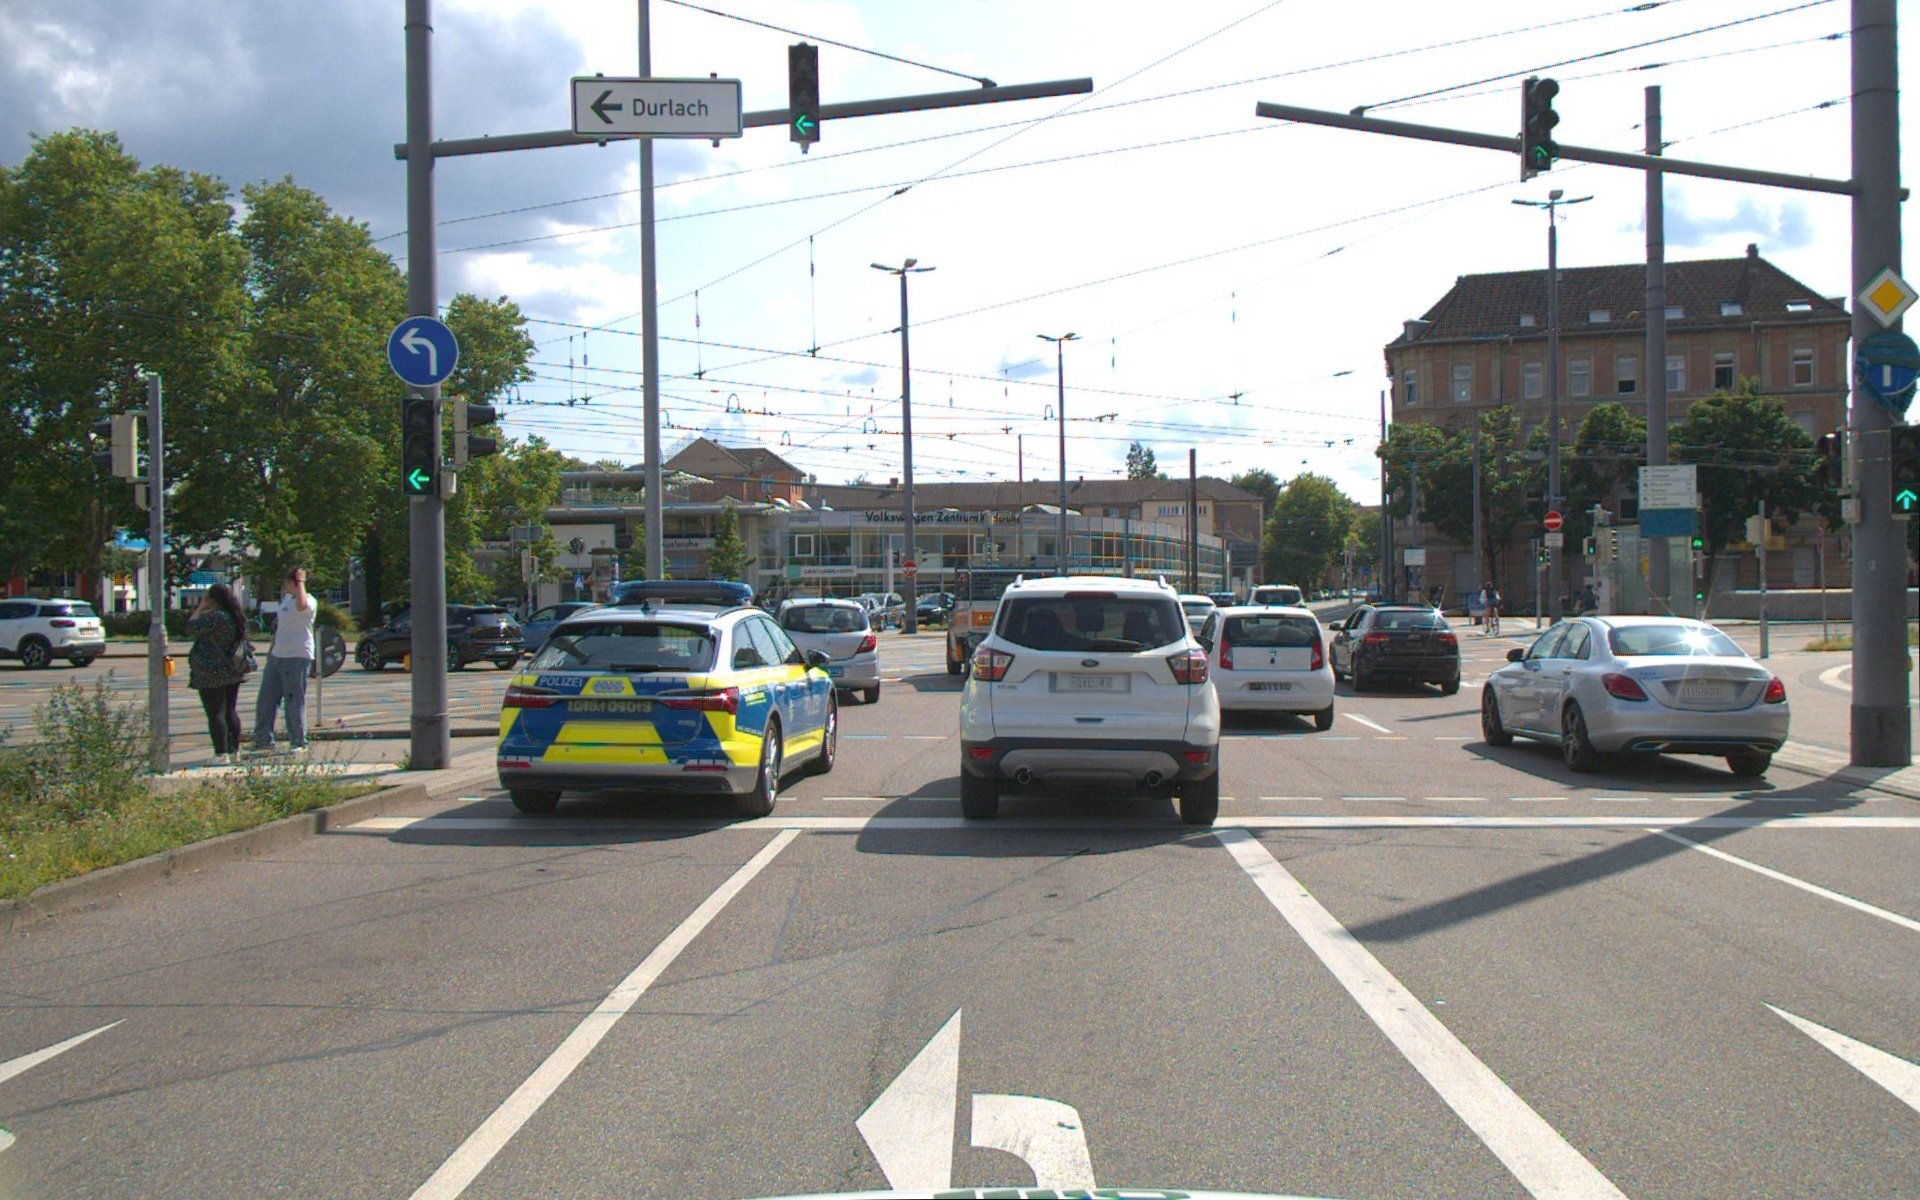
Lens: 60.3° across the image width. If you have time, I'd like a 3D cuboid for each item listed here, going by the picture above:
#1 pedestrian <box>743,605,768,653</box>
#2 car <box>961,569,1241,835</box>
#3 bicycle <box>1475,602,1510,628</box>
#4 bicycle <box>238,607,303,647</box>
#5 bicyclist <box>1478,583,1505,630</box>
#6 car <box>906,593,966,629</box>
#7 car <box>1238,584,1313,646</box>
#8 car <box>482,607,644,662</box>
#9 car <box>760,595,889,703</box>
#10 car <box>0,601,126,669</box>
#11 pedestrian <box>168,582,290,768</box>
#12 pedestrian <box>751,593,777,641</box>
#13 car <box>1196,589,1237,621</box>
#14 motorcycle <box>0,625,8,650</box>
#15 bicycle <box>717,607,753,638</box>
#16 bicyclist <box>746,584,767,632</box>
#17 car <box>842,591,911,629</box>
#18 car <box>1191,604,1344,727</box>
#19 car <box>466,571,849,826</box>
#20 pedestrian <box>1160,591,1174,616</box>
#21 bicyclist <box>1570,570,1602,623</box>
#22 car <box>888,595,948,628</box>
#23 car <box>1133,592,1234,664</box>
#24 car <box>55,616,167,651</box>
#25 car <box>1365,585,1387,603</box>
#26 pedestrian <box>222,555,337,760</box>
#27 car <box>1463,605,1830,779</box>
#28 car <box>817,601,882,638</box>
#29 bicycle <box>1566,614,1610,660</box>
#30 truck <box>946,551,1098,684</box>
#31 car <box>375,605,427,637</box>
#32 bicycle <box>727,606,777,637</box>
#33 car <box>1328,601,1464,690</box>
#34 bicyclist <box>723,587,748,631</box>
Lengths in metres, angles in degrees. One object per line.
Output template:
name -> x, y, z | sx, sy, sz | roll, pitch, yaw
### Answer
pedestrian -> -7.792, 1.105, 63.108 | 0.907, 1.774, 0.588 | 1, -1, -10
car -> 0.927, 0.662, 12.588 | 1.789, 1.693, 3.955 | 0, 0, 1
bicycle -> 16.982, 0.478, 52.787 | 0.573, 0.789, 1.621 | -1, 0, -1
bicycle -> -25.139, 0.983, 60.337 | 2.135, 1.439, 0.808 | 0, 0, -19
bicyclist -> 16.959, 0.210, 52.778 | 0.596, 1.476, 0.774 | -1, 0, -1
car -> -1.055, 0.487, 74.033 | 1.653, 1.487, 3.972 | -2, 0, 15
car -> 8.920, 0.425, 46.980 | 1.797, 1.681, 4.003 | 0, -1, 6
car -> -10.475, 0.900, 43.632 | 3.907, 1.401, 1.741 | -1, -1, 24
car -> -2.156, 0.690, 25.457 | 1.813, 1.500, 3.994 | -1, 0, -7
car -> -23.065, 0.832, 40.367 | 4.428, 1.606, 2.048 | 0, 0, 7
pedestrian -> -6.849, 0.690, 15.517 | 0.831, 1.677, 0.692 | -1, -1, -4
pedestrian -> -7.383, 0.651, 62.379 | 0.907, 1.774, 0.588 | 1, -1, -10
car -> 11.669, 0.238, 75.083 | 1.810, 1.444, 3.682 | 0, 0, 9
motorcycle -> -36.725, 1.421, 61.608 | 0.794, 0.933, 2.038 | -1, 1, 34
bicycle -> -9.093, 0.899, 66.838 | 0.743, 1.213, 2.152 | -2, 0, 11
bicyclist -> -7.530, 0.302, 61.191 | 0.646, 1.768, 0.640 | 0, 0, 4
car -> -3.726, 0.416, 74.544 | 1.701, 1.600, 4.001 | -2, 0, 19
car -> 3.987, 0.796, 21.956 | 1.614, 1.447, 4.003 | 0, 0, 5
car -> -2.083, 0.664, 12.807 | 1.840, 1.596, 4.617 | -1, -1, 4
pedestrian -> 16.752, 0.284, 133.952 | 0.859, 1.956, 0.874 | 0, -1, 30
bicyclist -> 15.253, -0.097, 40.293 | 0.622, 1.241, 0.923 | -3, 1, 24
car -> -2.013, 0.530, 80.980 | 1.592, 1.487, 3.970 | -2, 0, 19
car -> 4.631, 0.564, 34.667 | 1.811, 1.444, 3.680 | 0, 0, 3
car -> -36.597, 1.447, 71.368 | 3.909, 1.350, 1.631 | -2, -1, -5
car -> 39.691, -0.546, 157.733 | 1.798, 1.681, 4.002 | 0, -1, 17
pedestrian -> -6.688, 0.558, 16.289 | 0.831, 1.950, 0.692 | -1, -1, -4
car -> 6.690, 0.803, 16.755 | 1.890, 1.481, 4.760 | 1, 0, 2
car -> -4.392, 0.766, 66.417 | 1.700, 1.397, 3.645 | -2, 0, 11
bicycle -> 15.304, 0.895, 40.273 | 0.830, 0.987, 1.960 | -3, 0, 25
truck -> 1.017, 0.300, 30.505 | 2.292, 2.193, 5.848 | 0, 0, -3
car -> -36.973, 1.388, 109.545 | 1.928, 1.971, 5.064 | -2, -1, -3
bicycle -> -7.691, 0.788, 61.219 | 1.741, 1.145, 0.640 | 0, 0, 4
car -> 7.476, 0.735, 28.700 | 1.663, 1.396, 4.136 | -1, 0, 6
bicyclist -> -9.092, 0.361, 66.900 | 0.743, 1.712, 0.761 | -2, 0, 11
